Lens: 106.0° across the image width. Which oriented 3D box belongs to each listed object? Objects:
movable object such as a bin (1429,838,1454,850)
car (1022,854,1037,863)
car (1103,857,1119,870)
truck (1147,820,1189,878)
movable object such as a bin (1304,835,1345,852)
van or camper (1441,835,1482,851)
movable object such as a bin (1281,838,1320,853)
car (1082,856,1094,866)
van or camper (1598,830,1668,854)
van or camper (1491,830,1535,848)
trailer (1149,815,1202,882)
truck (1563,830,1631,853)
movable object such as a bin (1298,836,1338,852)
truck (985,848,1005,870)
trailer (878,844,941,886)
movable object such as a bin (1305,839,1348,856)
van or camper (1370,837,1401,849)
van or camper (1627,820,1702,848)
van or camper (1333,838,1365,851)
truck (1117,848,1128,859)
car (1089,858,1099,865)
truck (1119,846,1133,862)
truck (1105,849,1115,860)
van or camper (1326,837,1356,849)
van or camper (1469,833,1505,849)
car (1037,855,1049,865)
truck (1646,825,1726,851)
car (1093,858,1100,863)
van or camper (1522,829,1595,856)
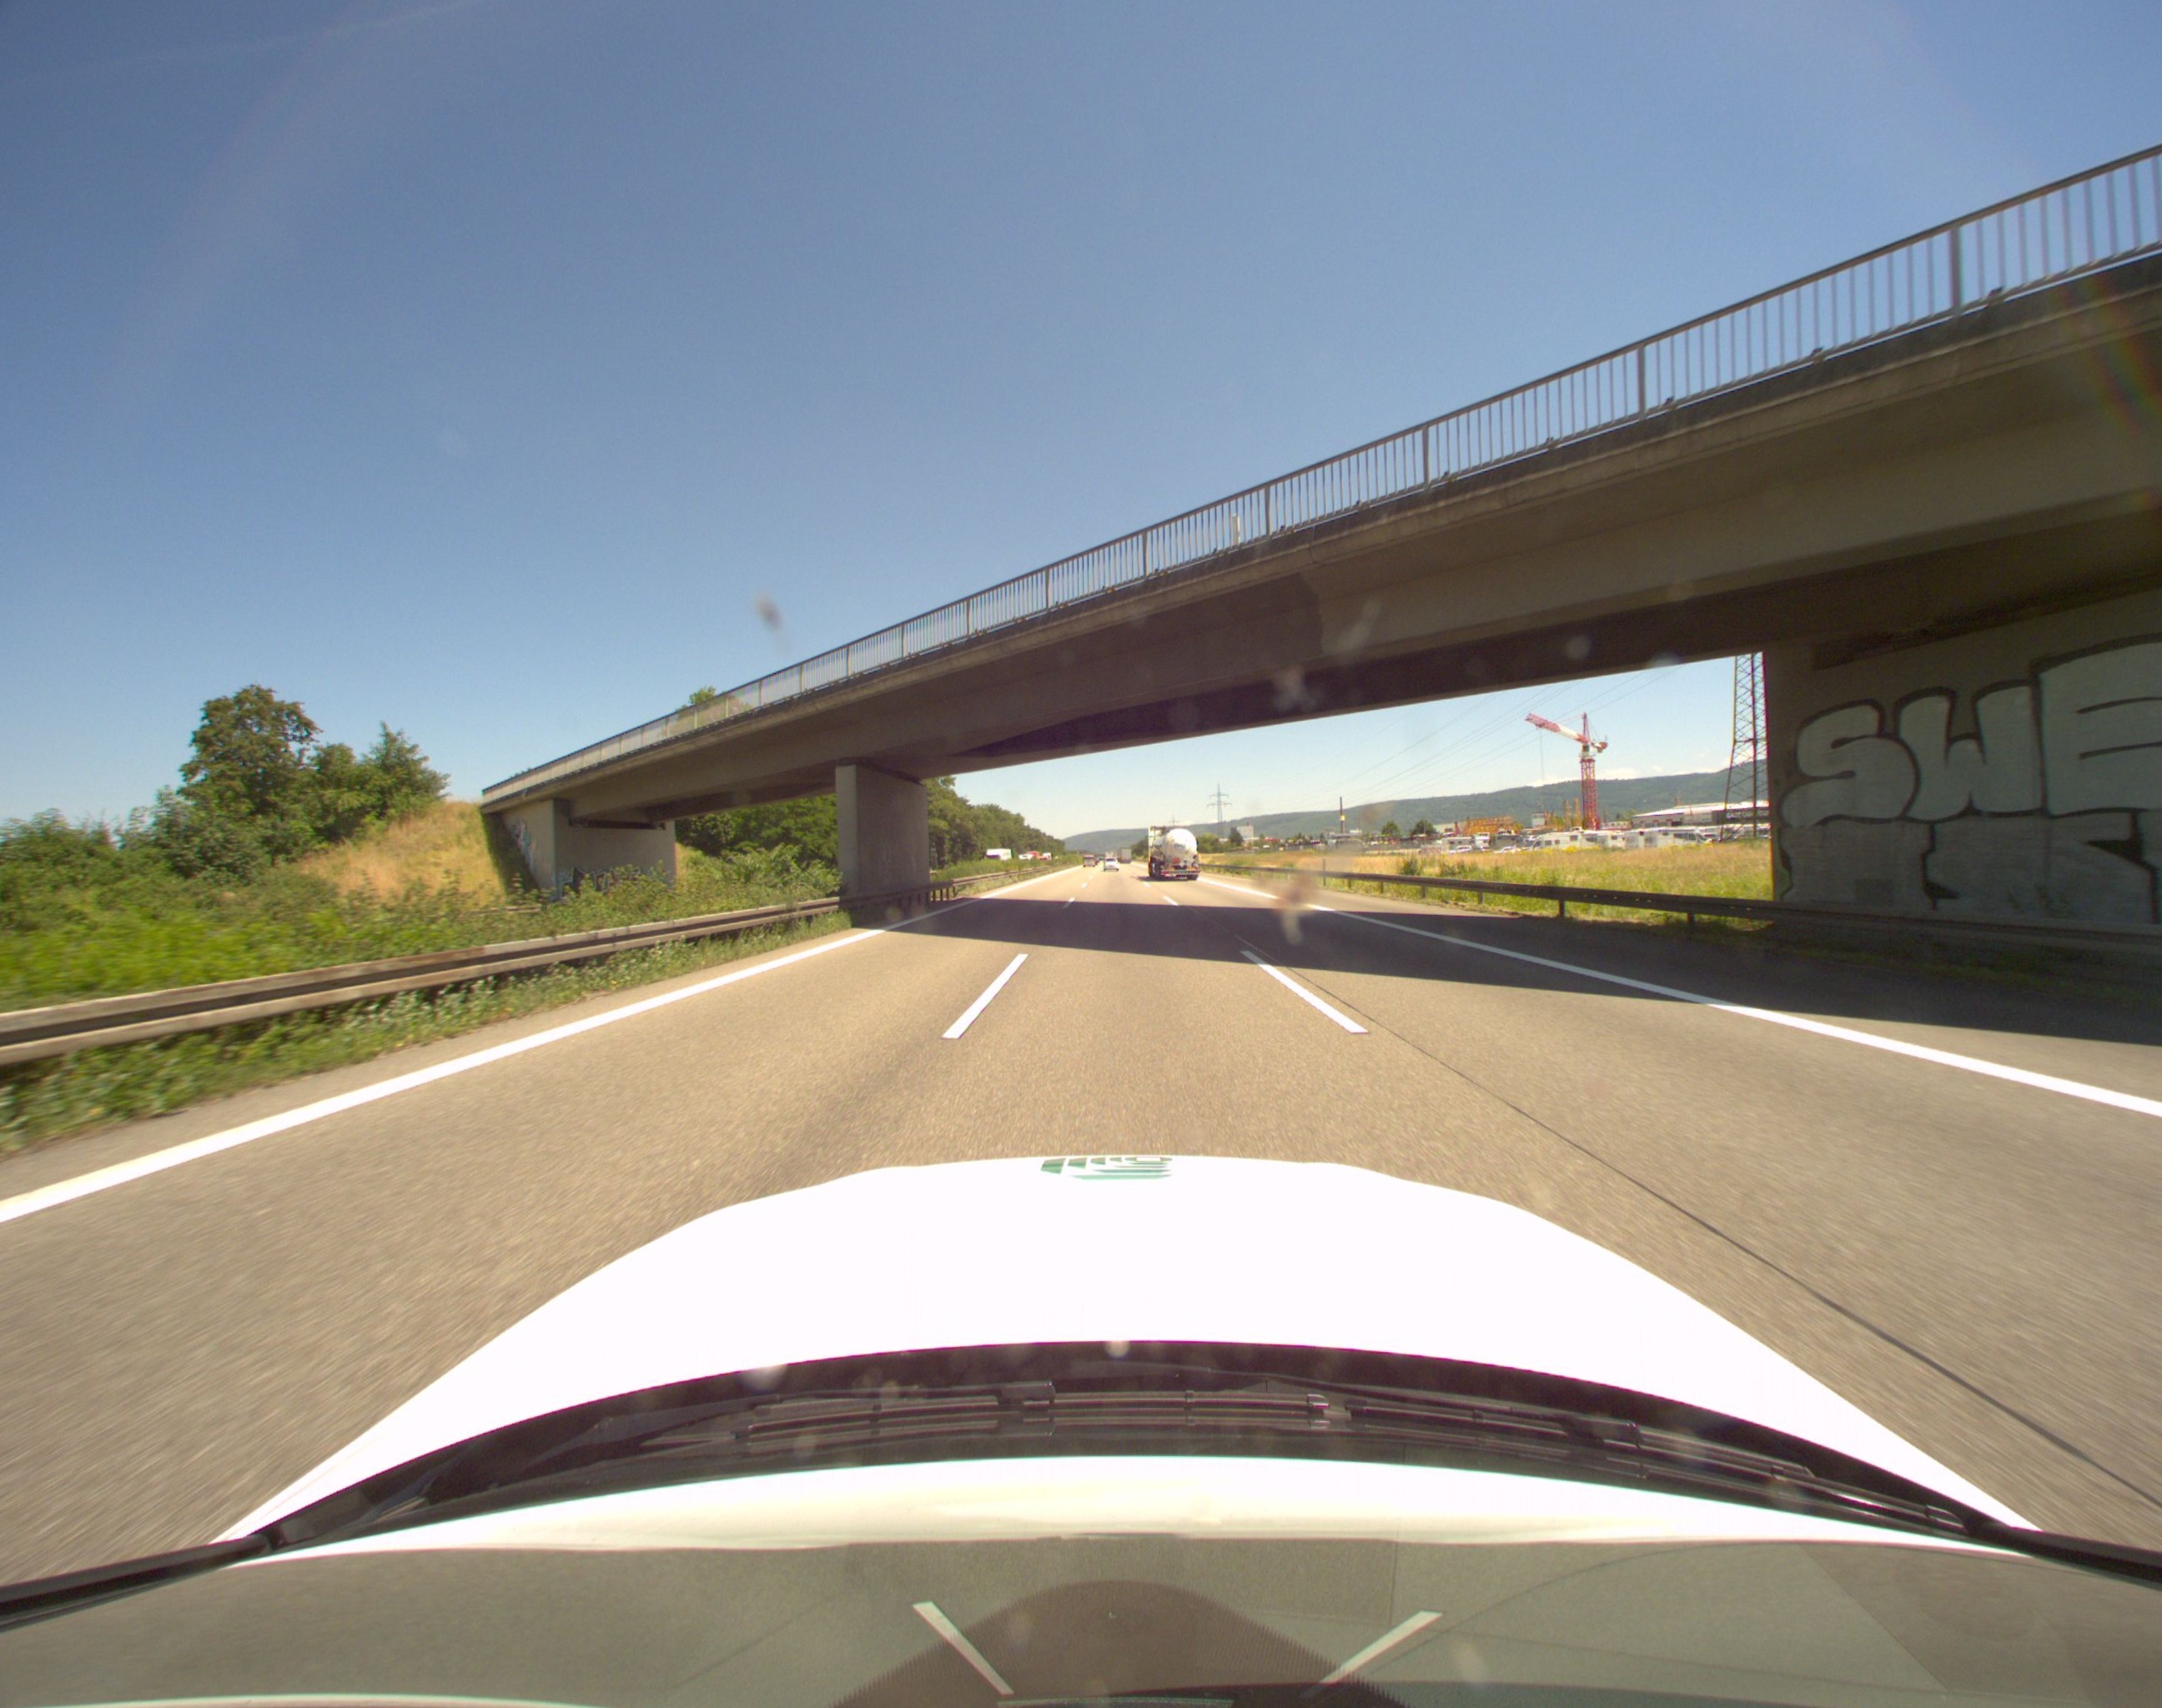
[{"bbox_3d":[85.685,-2.421,193.686,2.901,2.554,6.810,-3,-1,2],"label":"movable object such as a bin"},{"bbox_3d":[-10.180,0.931,161.225,2.293,1.780,5.427,0,0,2],"label":"car"},{"bbox_3d":[3.394,1.026,92.592,1.799,1.468,4.002,0,0,2],"label":"car"},{"bbox_3d":[6.362,-0.323,60.250,2.563,4.072,6.394,0,0,1],"label":"truck"},{"bbox_3d":[62.418,-2.626,209.127,9.662,3.689,2.983,-4,-1,8],"label":"movable object such as a bin"},{"bbox_3d":[73.606,-2.097,157.716,6.329,2.677,3.325,-3,0,0],"label":"van or camper"},{"bbox_3d":[62.706,-2.311,233.042,10.216,3.689,2.394,-4,-1,1],"label":"movable object such as a bin"},{"bbox_3d":[1.198,1.160,134.315,1.845,1.633,4.002,0,0,2],"label":"car"},{"bbox_3d":[73.712,-1.540,108.739,7.720,2.881,2.601,-2,0,-3],"label":"van or camper"},{"bbox_3d":[75.165,-2.579,141.781,6.425,2.767,2.422,-3,0,0],"label":"van or camper"},{"bbox_3d":[6.220,-0.321,55.213,2.570,4.074,11.106,0,0,2],"label":"trailer"},{"bbox_3d":[70.876,-1.694,111.898,7.720,2.881,2.601,-2,0,-3],"label":"truck"},{"bbox_3d":[62.606,-2.637,215.151,9.674,3.689,2.979,-4,-1,3],"label":"movable object such as a bin"},{"bbox_3d":[-15.028,0.802,142.251,2.784,3.721,5.119,0,0,2],"label":"truck"},{"bbox_3d":[-17.185,1.034,82.850,2.602,3.884,15.588,0,0,2],"label":"trailer"},{"bbox_3d":[61.920,-1.631,205.552,9.662,3.689,3.426,-4,-1,8],"label":"movable object such as a bin"},{"bbox_3d":[71.795,-2.638,192.046,6.091,2.402,2.604,-3,0,3],"label":"van or camper"},{"bbox_3d":[73.202,-2.445,102.282,7.725,3.193,2.670,-2,0,-5],"label":"van or camper"},{"bbox_3d":[59.879,-2.060,181.897,6.316,2.552,2.440,-3,0,3],"label":"van or camper"},{"bbox_3d":[13.319,-0.031,261.595,3.086,3.474,11.546,0,0,2],"label":"truck"},{"bbox_3d":[2.539,1.433,162.206,1.828,1.386,4.002,0,0,2],"label":"car"},{"bbox_3d":[11.276,-0.050,206.054,3.253,3.857,11.635,0,0,2],"label":"truck"},{"bbox_3d":[9.363,0.217,263.969,3.086,3.474,11.546,0,0,2],"label":"truck"},{"bbox_3d":[60.090,-2.485,188.128,6.091,2.402,2.604,-3,0,3],"label":"van or camper"},{"bbox_3d":[75.507,-2.479,151.571,5.240,2.677,2.616,-3,0,0],"label":"van or camper"},{"bbox_3d":[-7.347,1.130,158.994,2.085,1.780,5.459,0,0,0],"label":"car"},{"bbox_3d":[73.174,-1.885,98.613,7.720,2.881,2.771,-2,0,-3],"label":"truck"},{"bbox_3d":[4.338,1.838,229.360,1.828,1.386,4.002,0,0,2],"label":"car"},{"bbox_3d":[59.771,-1.414,102.059,7.714,3.101,2.434,-2,0,-1],"label":"van or camper"}]
